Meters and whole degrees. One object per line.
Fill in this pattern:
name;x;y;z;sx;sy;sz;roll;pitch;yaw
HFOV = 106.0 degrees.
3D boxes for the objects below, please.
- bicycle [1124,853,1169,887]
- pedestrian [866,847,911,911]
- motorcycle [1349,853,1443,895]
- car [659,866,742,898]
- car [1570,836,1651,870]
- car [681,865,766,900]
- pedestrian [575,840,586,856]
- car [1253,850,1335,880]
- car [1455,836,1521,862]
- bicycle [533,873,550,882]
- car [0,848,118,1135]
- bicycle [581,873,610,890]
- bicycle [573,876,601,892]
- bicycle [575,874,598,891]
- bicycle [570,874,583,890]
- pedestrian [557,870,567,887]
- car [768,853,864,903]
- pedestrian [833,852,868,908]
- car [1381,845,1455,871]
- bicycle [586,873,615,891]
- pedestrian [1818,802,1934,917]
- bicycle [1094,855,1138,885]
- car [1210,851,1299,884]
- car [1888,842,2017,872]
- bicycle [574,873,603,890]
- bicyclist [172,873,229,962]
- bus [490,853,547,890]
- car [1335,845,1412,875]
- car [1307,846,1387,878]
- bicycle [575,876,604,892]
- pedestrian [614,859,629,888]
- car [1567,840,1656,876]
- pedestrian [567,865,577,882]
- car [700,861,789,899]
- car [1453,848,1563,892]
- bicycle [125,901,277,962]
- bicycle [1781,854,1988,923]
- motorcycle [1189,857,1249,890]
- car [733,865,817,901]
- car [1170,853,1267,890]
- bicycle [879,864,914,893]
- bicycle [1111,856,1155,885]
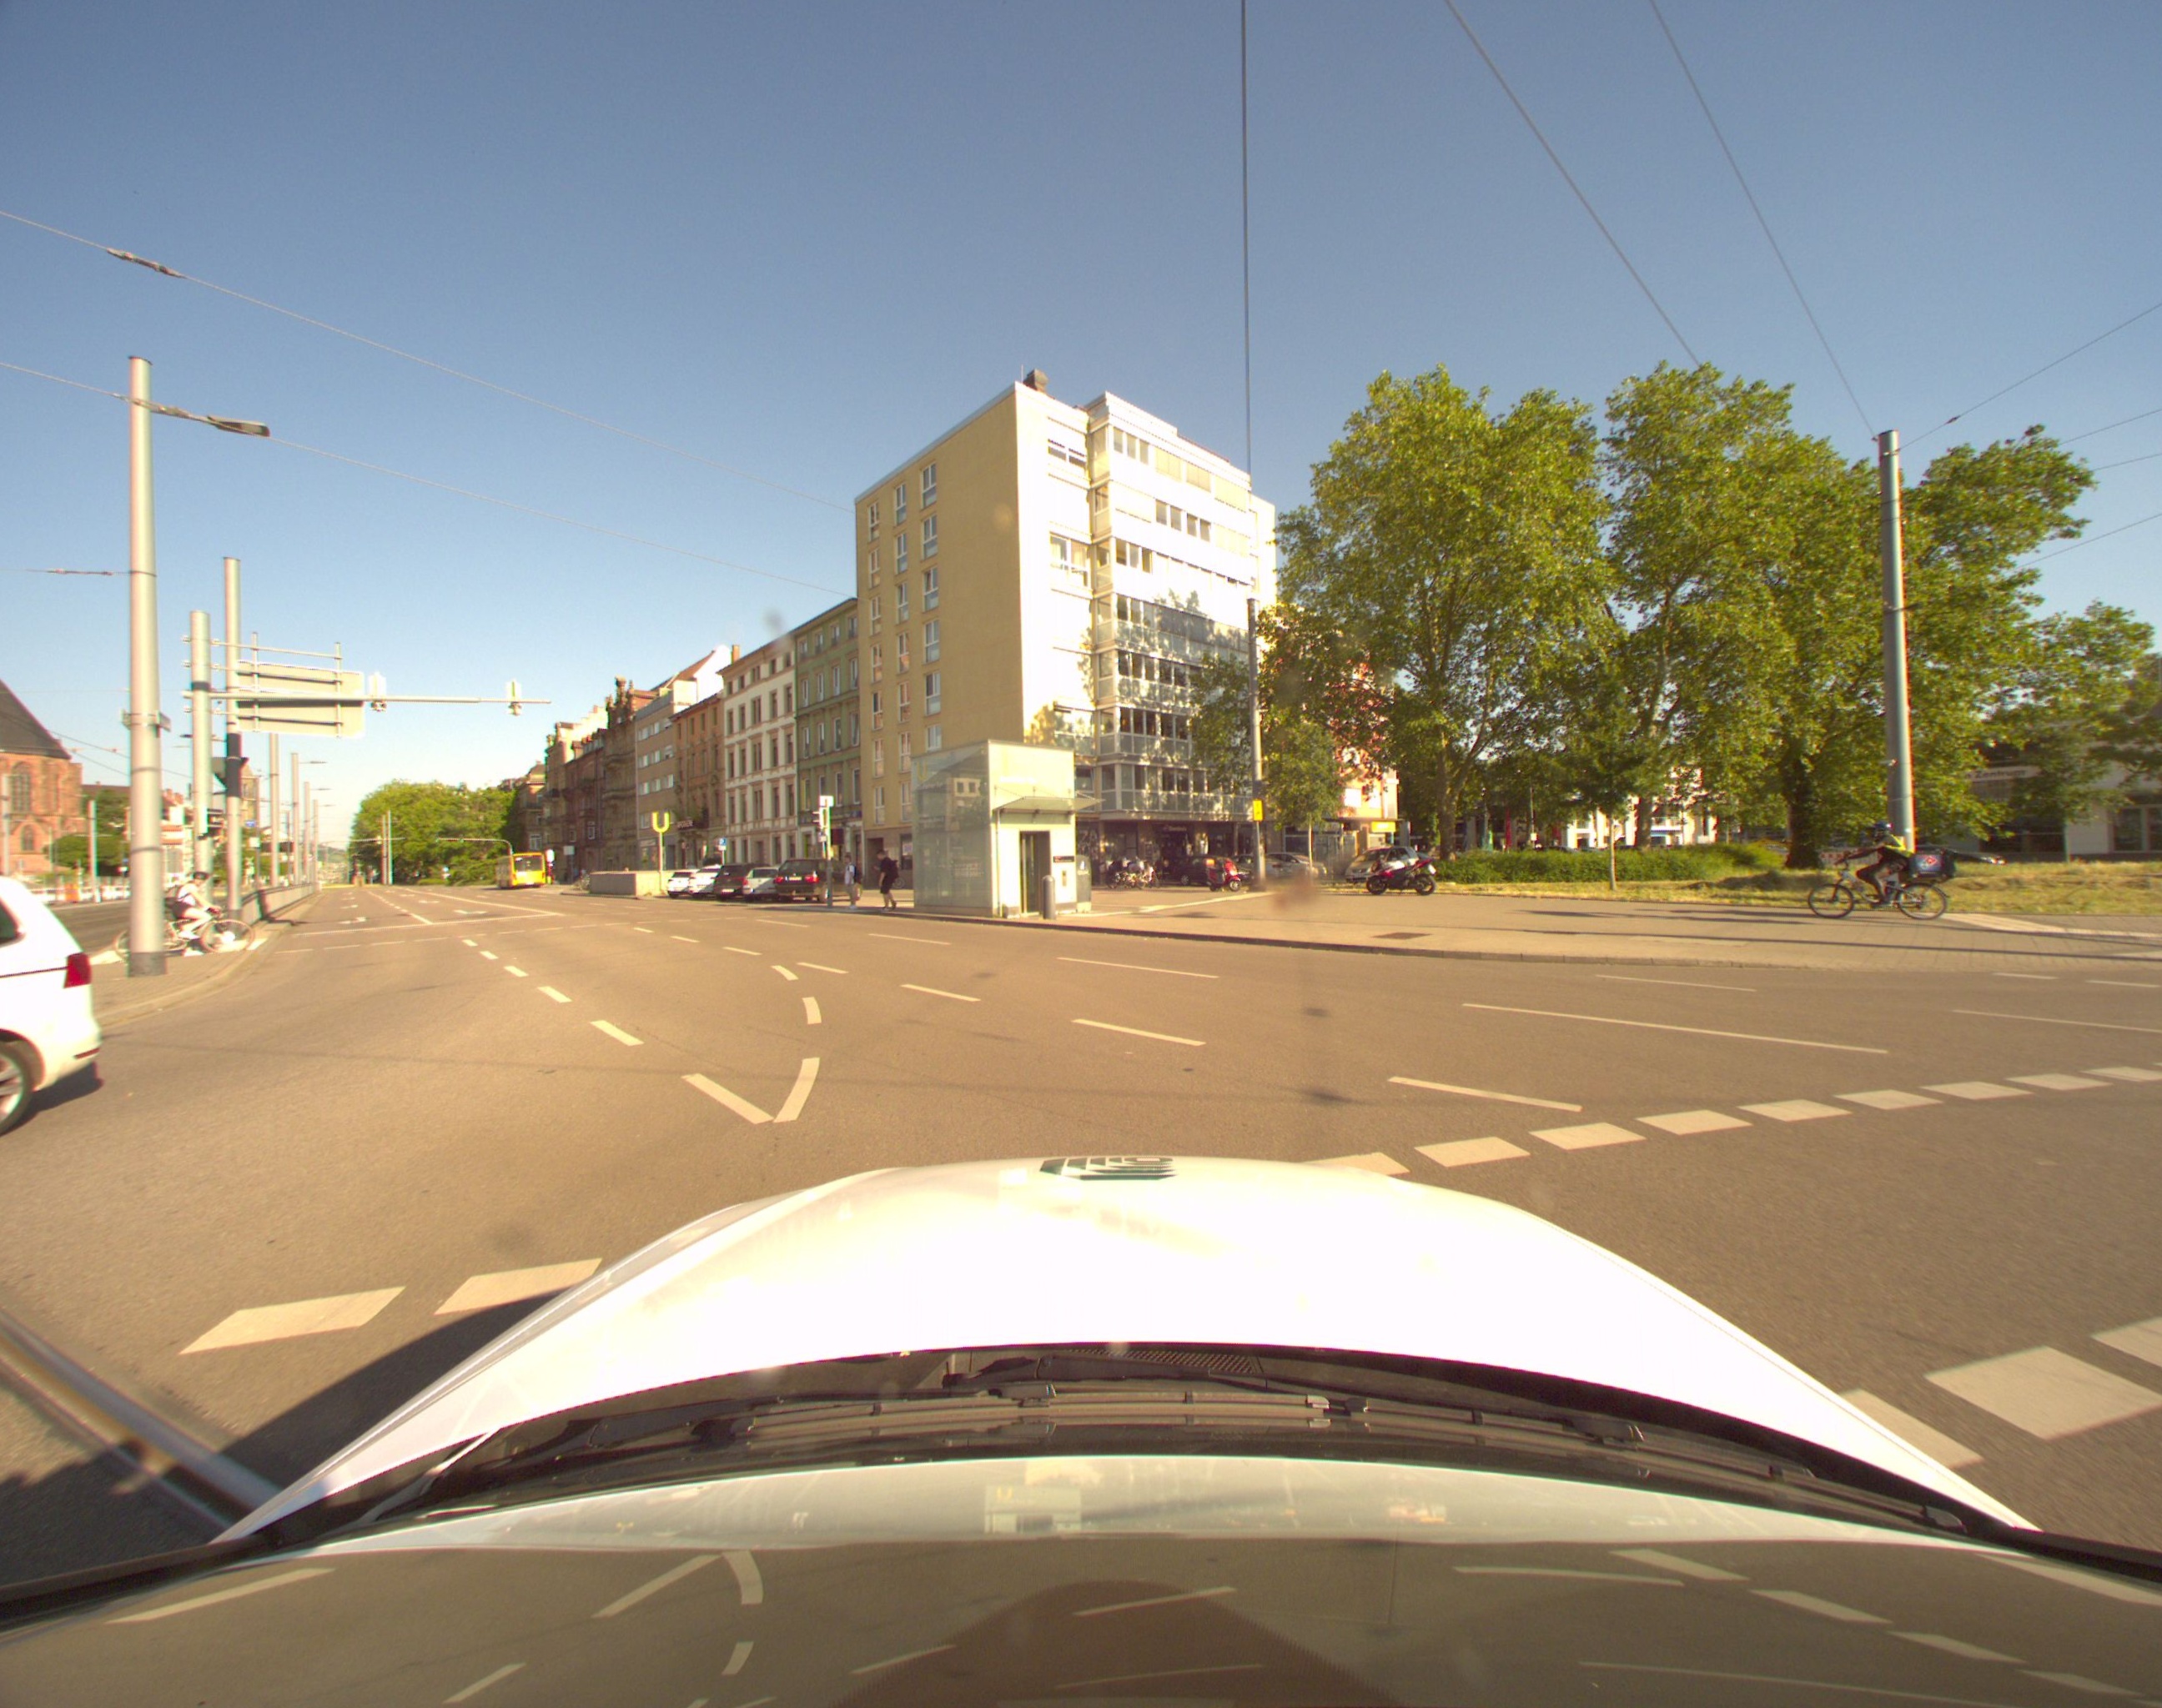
bicycle;2.820;0.681;35.021;0.805;1.345;2.011;-2;0;42
pedestrian;-5.314;0.687;22.497;0.860;1.728;0.798;-2;0;16
motorcycle;8.785;0.564;22.749;2.252;1.074;1.047;-1;1;33
car;-19.464;1.405;41.901;1.945;1.464;4.120;-2;0;7
car;33.426;-0.123;51.483;1.867;1.999;3.951;-3;3;-44
car;-17.086;1.314;39.174;1.945;1.570;4.256;-1;-1;4
pedestrian;-60.792;-0.718;98.909;0.829;1.930;1.123;-1;0;-43
car;11.564;0.546;44.384;1.867;1.419;3.953;-3;3;-42
car;30.212;-0.418;60.544;1.867;1.779;3.953;-3;3;-42
bicycle;-76.177;3.299;114.975;0.484;1.239;1.902;-4;0;35
car;-7.347;0.849;3.243;1.933;1.733;4.455;-2;0;-6
bicycle;-35.344;2.019;59.330;1.780;1.187;0.464;0;0;-43
bicycle;-37.287;2.248;61.479;1.780;1.187;0.464;0;0;-43
bicycle;-34.884;2.021;57.476;1.749;1.147;0.473;-1;0;24
bicycle;-36.753;2.050;59.316;0.473;1.147;1.749;0;0;-42
pedestrian;-62.155;2.955;97.482;0.829;1.930;1.123;-1;0;-43
car;-10.272;0.900;31.950;1.944;1.814;4.259;-1;-1;7
pedestrian;-7.338;0.824;25.957;0.743;1.728;0.702;-2;0;31
car;21.397;0.225;51.825;1.867;1.419;3.953;-3;3;-42
bicycle;-34.607;2.005;58.668;1.780;1.178;0.464;0;0;-43
pedestrian;14.539;0.067;14.953;1.254;2.013;1.041;1;2;28
bicycle;1.577;0.713;36.540;0.805;1.248;2.011;-2;0;42
car;8.503;0.614;40.053;1.867;1.419;3.953;-3;3;-42
car;44.312;0.121;41.528;1.755;1.336;4.139;-1;3;-21
bicycle;-36.957;2.062;61.111;1.807;1.187;0.464;0;0;-43
bicyclist;-16.853;1.191;15.602;0.805;1.616;0.680;-2;0;43
bus;-54.457;1.697;78.666;2.739;3.181;12.388;-3;1;-42
car;17.550;0.308;48.956;1.867;1.635;3.953;-3;3;-42
car;15.193;0.430;46.667;1.867;1.635;3.953;-3;3;-42
bicycle;-36.622;2.224;60.738;1.780;1.187;0.464;0;0;-43
pedestrian;-33.142;1.390;58.772;0.757;2.013;0.690;-3;3;-42
car;30.452;0.172;46.826;1.867;1.868;3.951;-3;3;-44
pedestrian;-61.347;2.337;98.169;0.829;1.930;1.123;-1;0;-43
car;-14.902;1.127;36.355;1.945;1.598;4.256;-1;-1;5
car;18.138;0.729;34.699;3.949;1.511;1.810;-4;-7;27
bicycle;-16.809;1.445;15.616;0.805;0.942;1.907;-2;1;43
bicycle;14.623;0.589;14.964;2.499;1.123;1.041;1;3;28
motorcycle;4.697;0.669;27.848;0.886;1.046;1.781;-3;-1;-45
car;-12.633;1.196;33.885;1.775;1.400;3.896;-1;-2;4
car;6.385;0.771;38.117;4.175;1.482;1.868;2;3;45
bicycle;-9.729;1.268;42.854;0.937;1.357;2.203;-2;3;-39
bicycle;2.310;0.718;35.972;0.805;1.200;2.011;-2;0;42
